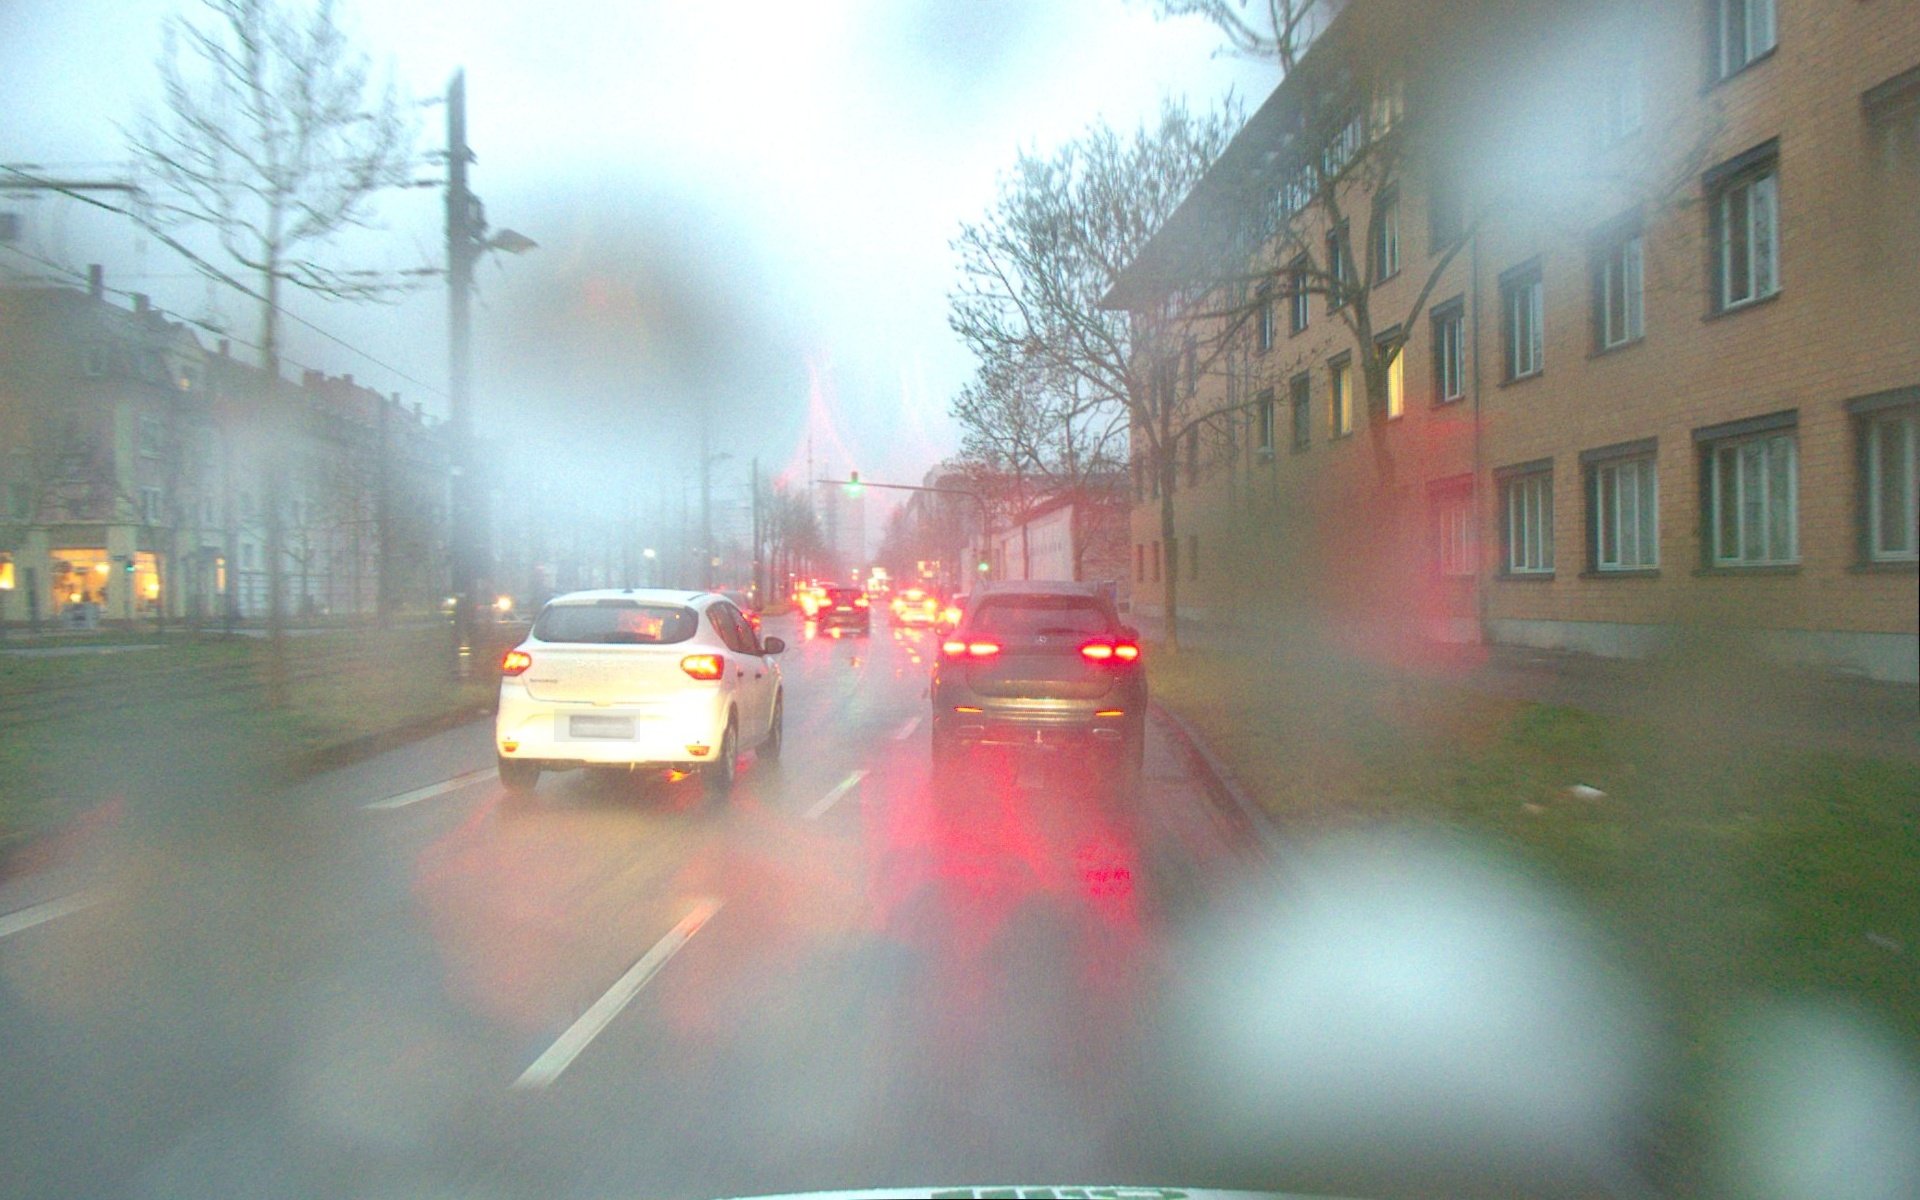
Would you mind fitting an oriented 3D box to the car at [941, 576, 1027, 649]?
[{"bbox_3d":[0.579,0.304,43.031,1.954,1.774,3.997,-1,0,-3],"label":"car"}]

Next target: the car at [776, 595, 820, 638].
[{"bbox_3d":[-8.060,0.794,82.703,1.954,2.049,3.998,-1,0,-3],"label":"car"}]

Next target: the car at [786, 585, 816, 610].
[{"bbox_3d":[-11.637,-0.213,121.181,1.954,1.747,3.998,-1,0,-3],"label":"car"}]

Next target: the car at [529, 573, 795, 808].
[{"bbox_3d":[-2.265,0.622,13.505,1.639,1.628,4.051,0,0,-3],"label":"car"}]

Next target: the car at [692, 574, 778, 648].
[{"bbox_3d":[-5.180,0.230,38.482,1.639,1.628,4.051,0,0,-3],"label":"car"}]

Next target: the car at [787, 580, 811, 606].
[{"bbox_3d":[-13.462,-0.589,138.496,1.780,2.049,3.998,-1,0,-3],"label":"car"}]

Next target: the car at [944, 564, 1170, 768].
[{"bbox_3d":[0.761,0.526,15.287,1.639,1.628,4.051,0,0,-3],"label":"car"}]
